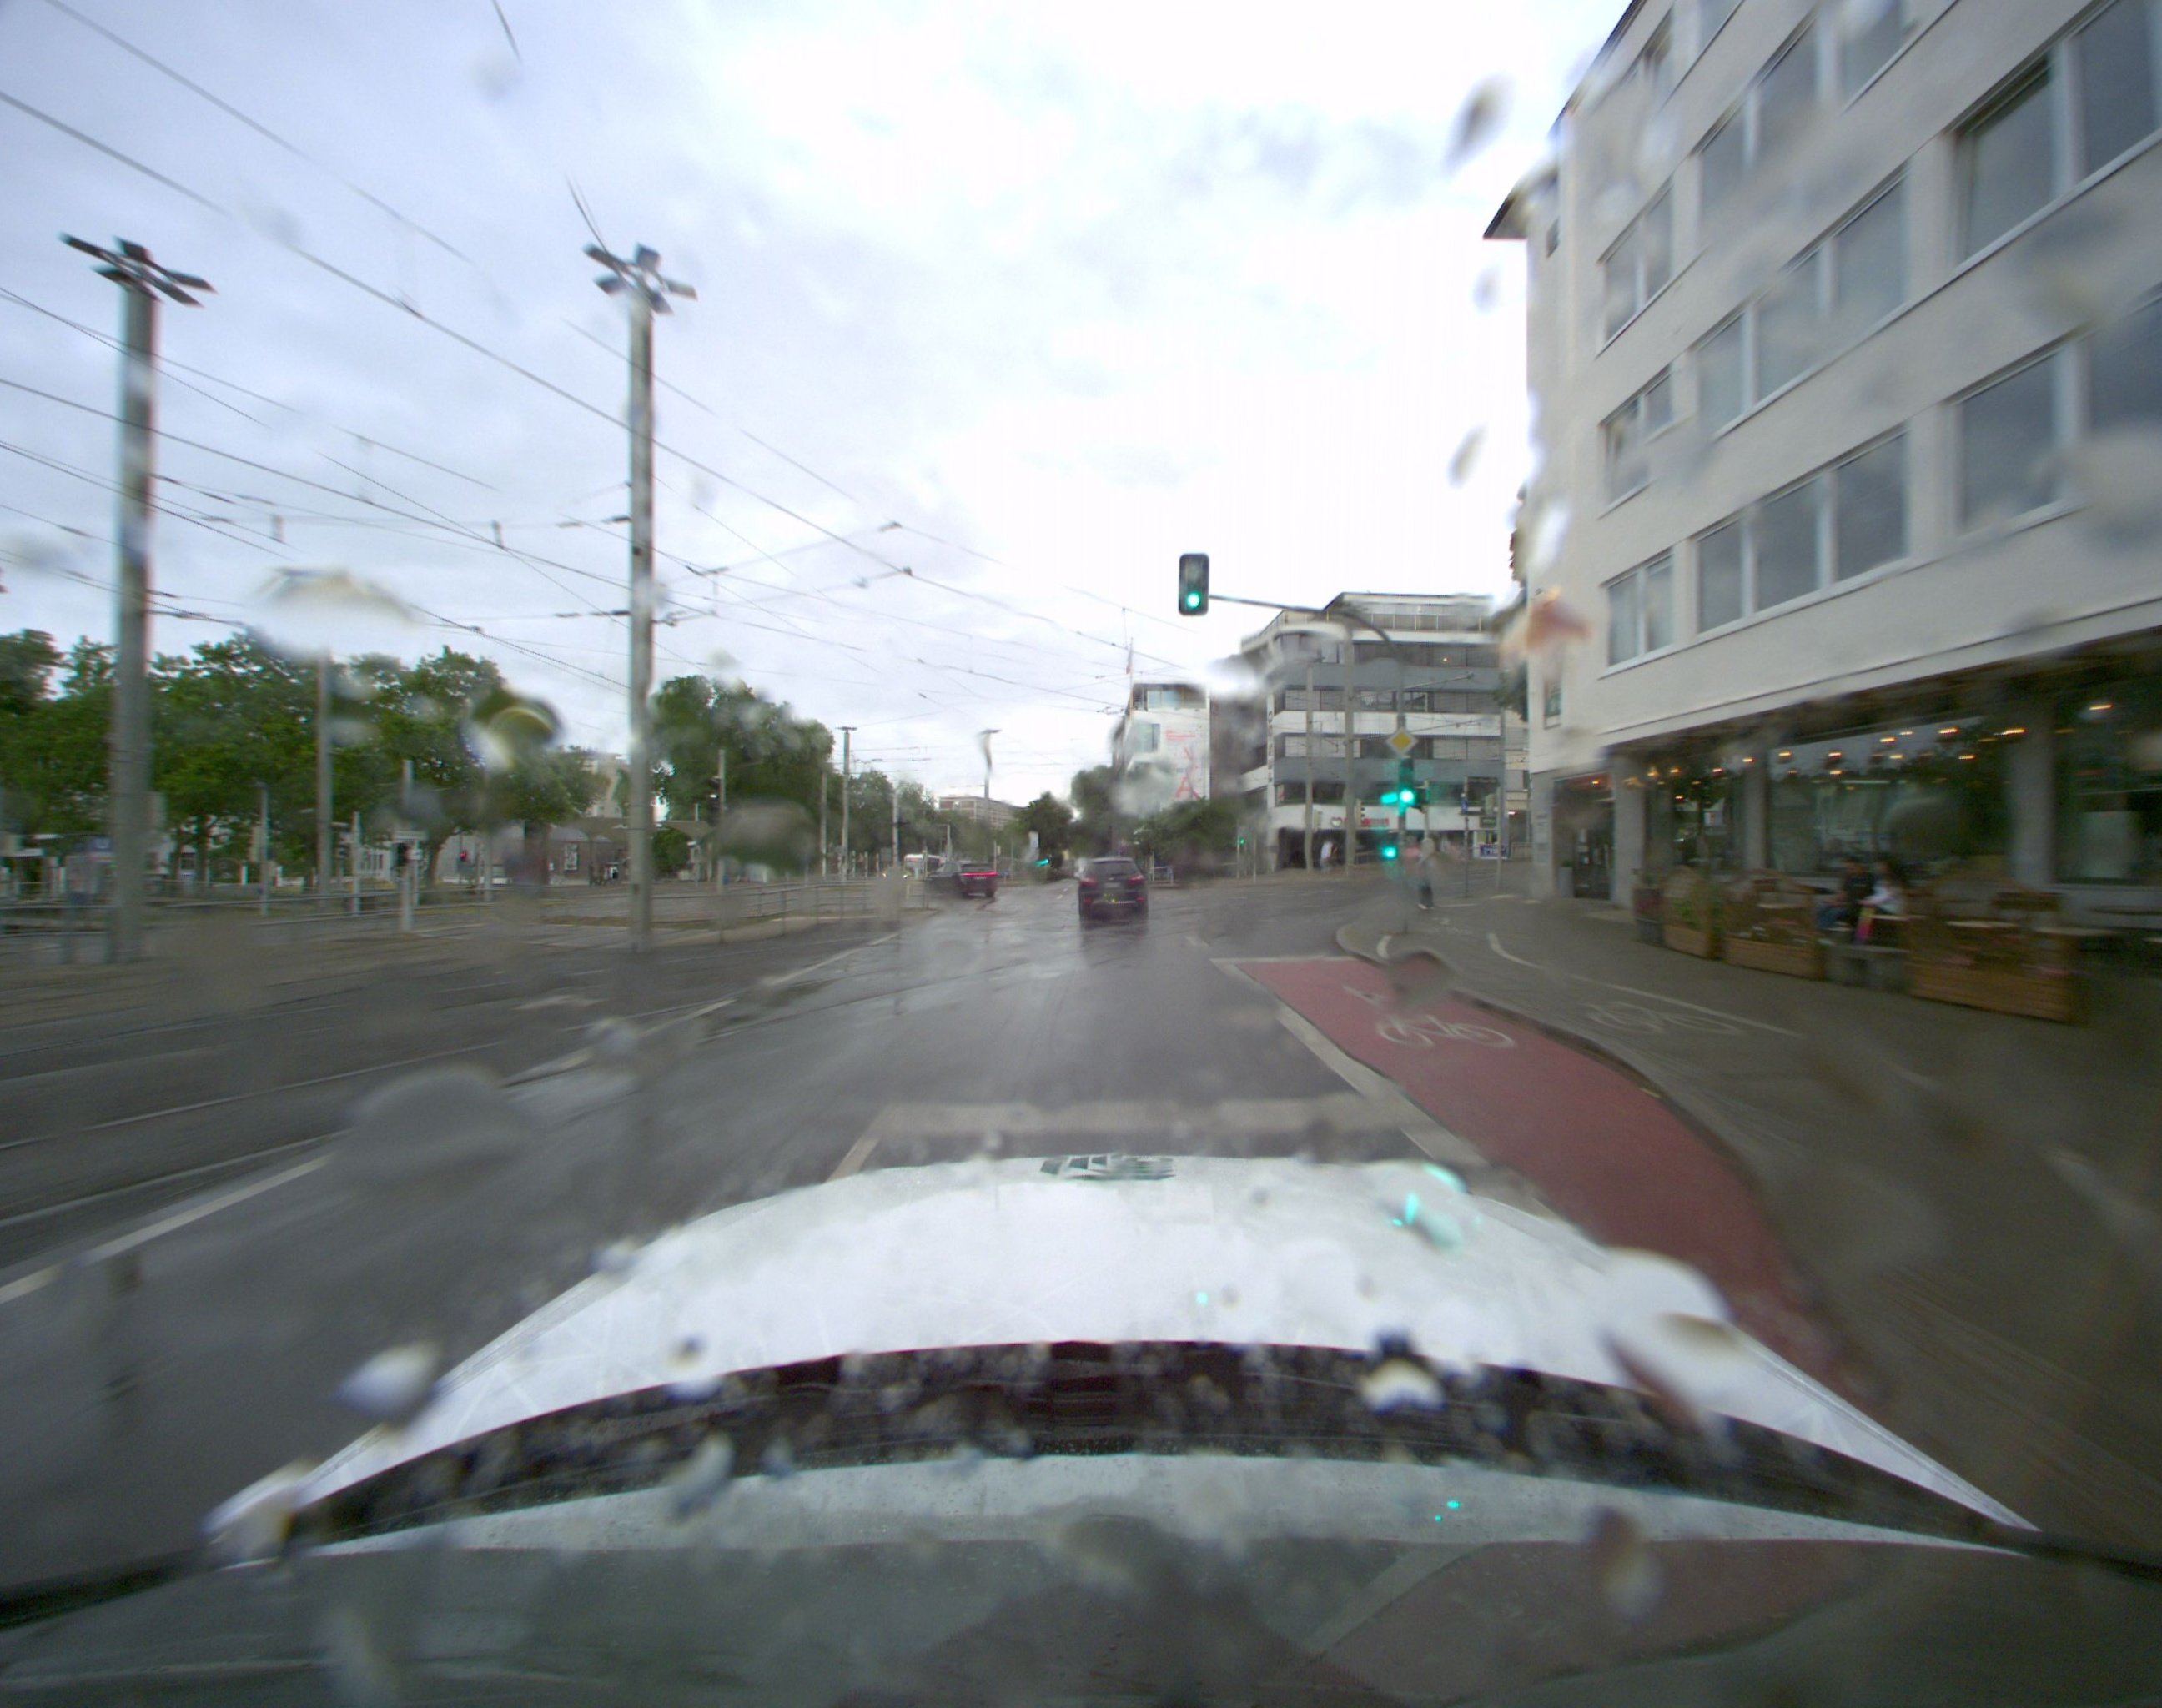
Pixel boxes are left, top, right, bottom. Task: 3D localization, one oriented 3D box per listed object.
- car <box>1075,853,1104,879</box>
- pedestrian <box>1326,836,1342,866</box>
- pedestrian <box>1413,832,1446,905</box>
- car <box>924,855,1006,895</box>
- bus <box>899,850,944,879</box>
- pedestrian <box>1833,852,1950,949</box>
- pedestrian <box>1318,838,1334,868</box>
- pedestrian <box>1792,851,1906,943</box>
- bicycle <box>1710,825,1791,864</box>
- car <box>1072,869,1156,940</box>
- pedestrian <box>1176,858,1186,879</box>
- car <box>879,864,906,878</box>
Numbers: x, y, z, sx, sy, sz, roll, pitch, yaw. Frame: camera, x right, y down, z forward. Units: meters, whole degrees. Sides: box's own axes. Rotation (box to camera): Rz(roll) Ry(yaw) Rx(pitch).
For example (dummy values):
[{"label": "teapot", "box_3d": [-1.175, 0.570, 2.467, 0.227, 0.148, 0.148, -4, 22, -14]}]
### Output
[{"label": "car", "box_3d": [0.669, 0.890, 62.252, 2.028, 1.840, 4.395, 0, 0, 2]}, {"label": "pedestrian", "box_3d": [16.459, -0.193, 52.976, 0.710, 1.914, 0.702, -2, -1, 39]}, {"label": "pedestrian", "box_3d": [8.371, 0.334, 19.546, 0.522, 1.712, 0.710, -2, 0, 39]}, {"label": "car", "box_3d": [-4.964, 0.844, 34.322, 2.109, 1.506, 4.692, -1, 0, -25]}, {"label": "bus", "box_3d": [-19.943, 1.268, 103.001, 3.067, 3.300, 12.522, -2, 0, 0]}, {"label": "pedestrian", "box_3d": [10.502, 0.582, 10.571, 0.912, 1.191, 0.568, -2, 0, 0]}, {"label": "pedestrian", "box_3d": [15.757, -0.061, 52.441, 0.710, 1.914, 0.702, -2, -1, 39]}, {"label": "pedestrian", "box_3d": [10.547, 0.579, 11.204, 0.926, 1.191, 0.635, -2, 0, 1]}, {"label": "bicycle", "box_3d": [21.181, -0.284, 25.837, 0.645, 1.174, 2.323, -1, 0, 1]}, {"label": "car", "box_3d": [0.820, 1.254, 21.721, 2.029, 1.584, 4.392, 0, 0, 1]}, {"label": "pedestrian", "box_3d": [7.409, 1.085, 60.431, 0.537, 1.563, 0.524, -2, -1, 21]}, {"label": "car", "box_3d": [-22.780, 2.053, 98.620, 1.986, 1.646, 4.538, -2, 0, 1]}]
